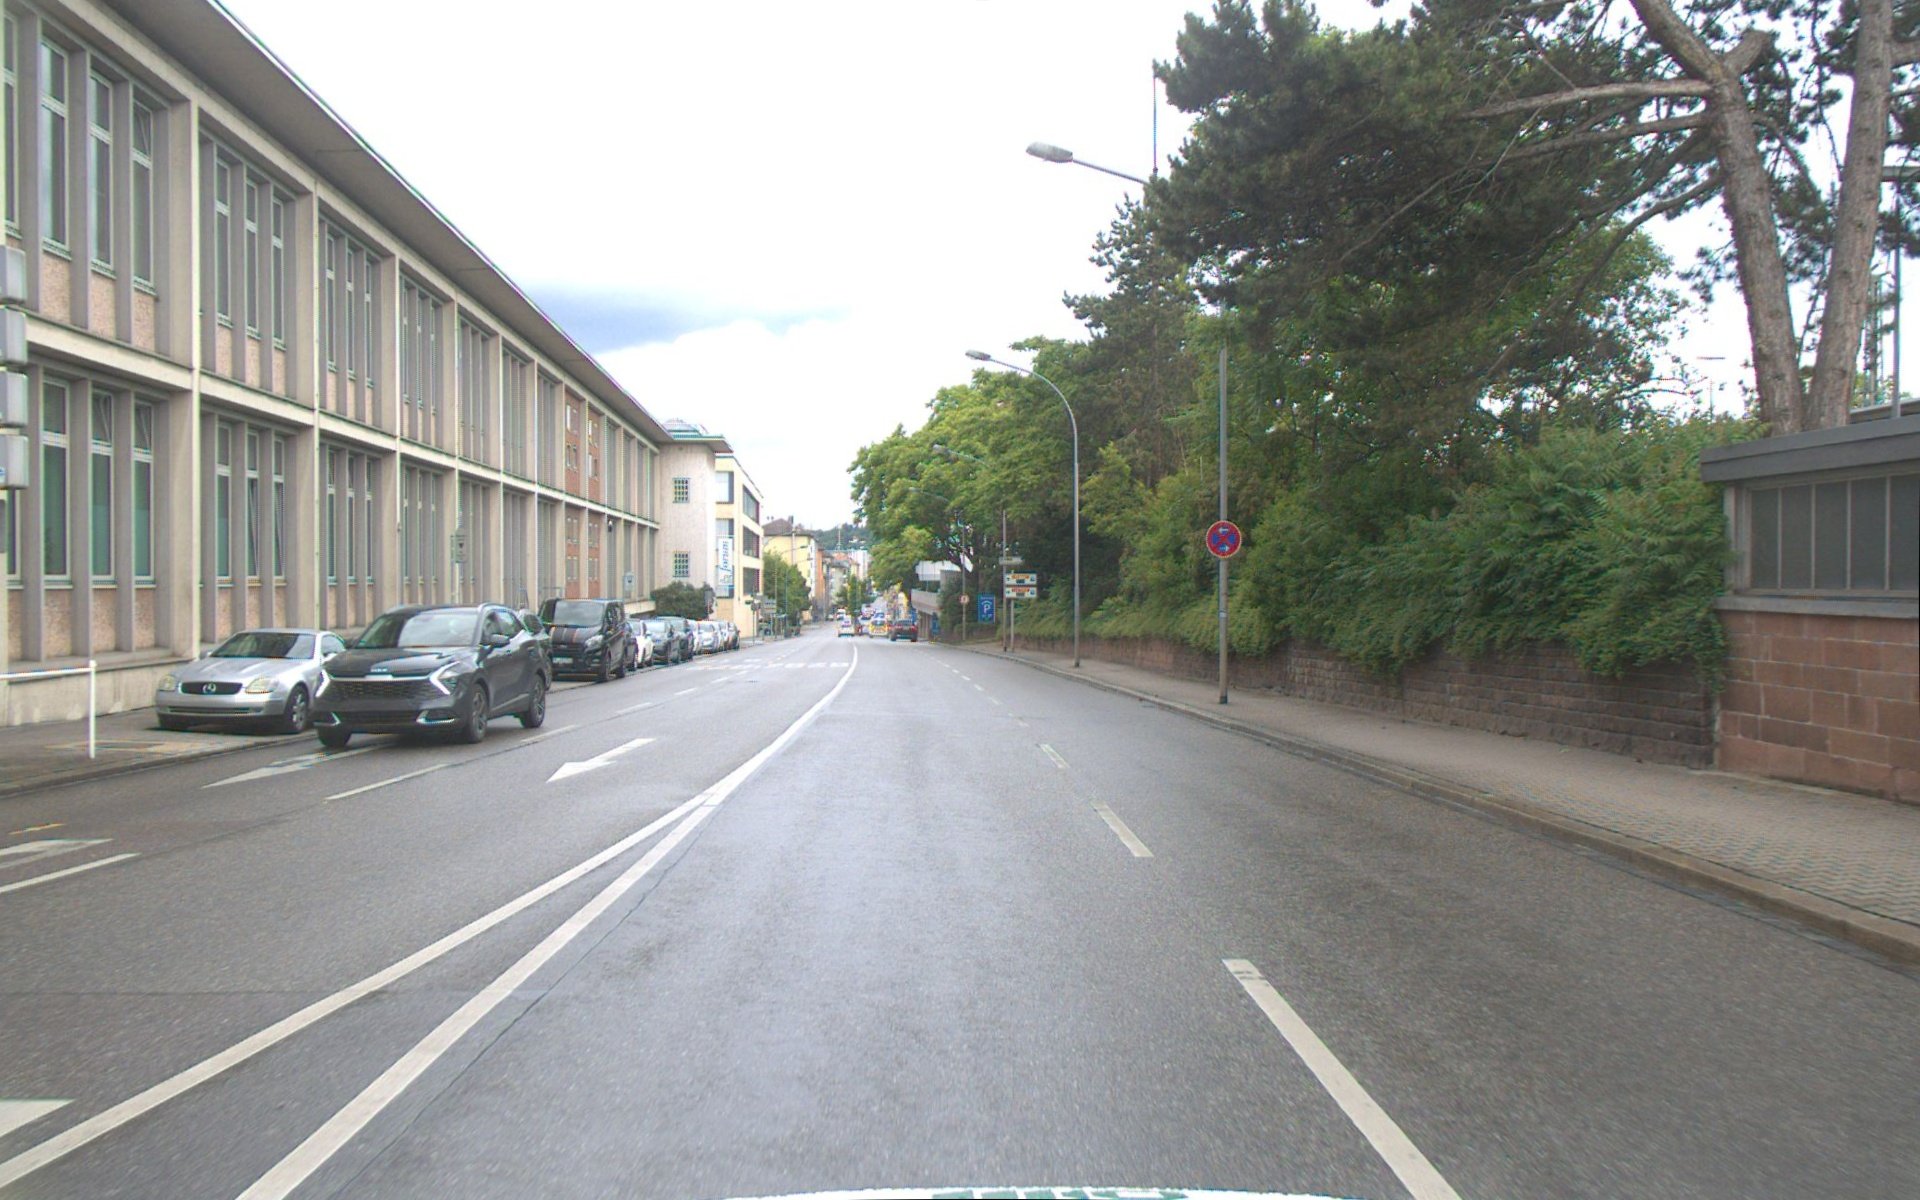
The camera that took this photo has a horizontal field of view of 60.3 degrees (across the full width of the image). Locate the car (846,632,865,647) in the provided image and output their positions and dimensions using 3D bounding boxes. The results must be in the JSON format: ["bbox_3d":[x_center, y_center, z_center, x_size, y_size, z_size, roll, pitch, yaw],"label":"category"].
[{"bbox_3d":[-12.538,4.701,198.015,1.956,1.709,3.992,0,-1,-9],"label":"car"}]

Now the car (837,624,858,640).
[{"bbox_3d":[-12.681,3.562,186.356,1.956,1.709,3.992,0,0,-9],"label":"car"}]

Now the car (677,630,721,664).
[{"bbox_3d":[-12.212,2.201,77.550,1.714,1.460,4.480,2,-2,-5],"label":"car"}]

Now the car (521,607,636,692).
[{"bbox_3d":[-9.470,1.184,41.442,1.910,1.978,4.993,0,-1,-2],"label":"car"}]

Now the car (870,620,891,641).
[{"bbox_3d":[-7.868,3.006,163.501,1.954,1.870,3.997,-2,0,-4],"label":"car"}]

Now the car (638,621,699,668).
[{"bbox_3d":[-11.082,1.710,63.105,1.805,1.682,4.511,2,-2,-5],"label":"car"}]

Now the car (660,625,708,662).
[{"bbox_3d":[-12.053,1.891,72.334,1.646,1.549,3.917,0,-1,-3],"label":"car"}]

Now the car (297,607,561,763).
[{"bbox_3d":[-6.429,0.953,20.542,1.784,1.689,4.338,-2,0,1],"label":"car"}]

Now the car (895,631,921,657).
[{"bbox_3d":[-4.289,3.574,135.752,2.050,1.944,4.097,-2,0,-3],"label":"car"}]

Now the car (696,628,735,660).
[{"bbox_3d":[-13.024,2.354,88.289,1.713,1.626,4.177,2,-1,-4],"label":"car"}]

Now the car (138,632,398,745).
[{"bbox_3d":[-9.073,1.106,22.065,1.656,1.320,4.093,0,0,1],"label":"car"}]

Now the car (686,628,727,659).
[{"bbox_3d":[-12.676,2.154,82.993,1.714,1.480,4.176,2,-1,-5],"label":"car"}]

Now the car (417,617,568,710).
[{"bbox_3d":[-9.099,1.182,32.587,1.760,1.705,4.602,0,-1,-1],"label":"car"}]

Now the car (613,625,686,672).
[{"bbox_3d":[-10.668,1.643,57.145,1.779,1.510,4.906,0,-1,-2],"label":"car"}]

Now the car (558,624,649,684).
[{"bbox_3d":[-10.102,1.501,47.168,1.823,1.579,4.310,0,-1,-2],"label":"car"}]

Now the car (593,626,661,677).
[{"bbox_3d":[-10.420,1.591,51.875,1.534,1.510,3.551,0,-1,-2],"label":"car"}]
